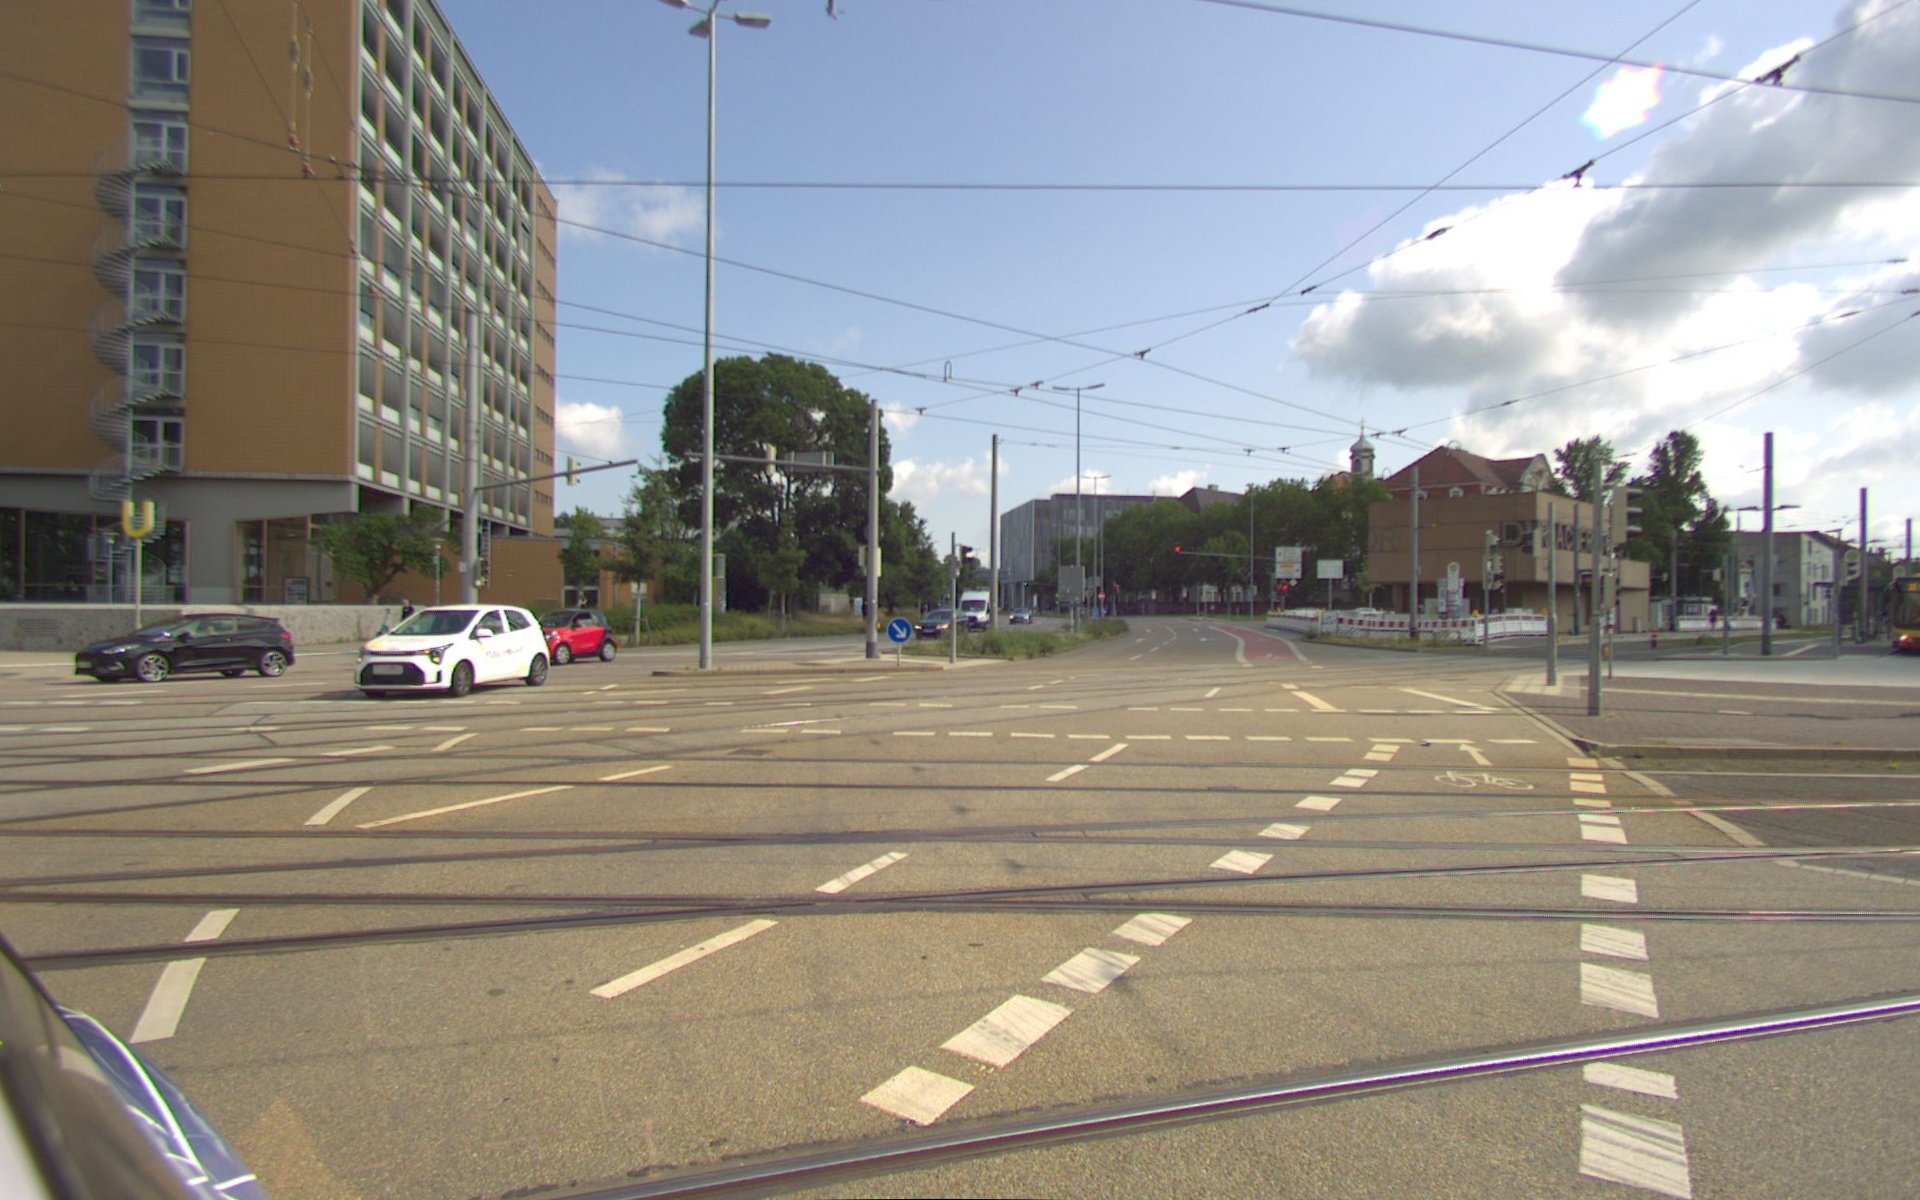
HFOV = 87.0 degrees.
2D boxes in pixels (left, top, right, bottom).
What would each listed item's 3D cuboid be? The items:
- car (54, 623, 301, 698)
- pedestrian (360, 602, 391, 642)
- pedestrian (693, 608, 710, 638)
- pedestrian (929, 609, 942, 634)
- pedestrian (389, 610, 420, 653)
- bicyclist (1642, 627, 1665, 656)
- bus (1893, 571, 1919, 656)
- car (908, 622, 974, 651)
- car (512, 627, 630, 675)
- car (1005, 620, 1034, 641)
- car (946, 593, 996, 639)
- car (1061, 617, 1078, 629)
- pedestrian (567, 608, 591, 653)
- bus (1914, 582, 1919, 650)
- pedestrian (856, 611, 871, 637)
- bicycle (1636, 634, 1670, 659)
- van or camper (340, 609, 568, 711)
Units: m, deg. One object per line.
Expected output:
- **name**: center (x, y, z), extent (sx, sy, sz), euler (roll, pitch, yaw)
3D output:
- **car**: center (-17.010, 1.251, 22.216), extent (1.705, 1.465, 3.964), euler (-1, -1, 27)
- **pedestrian**: center (-24.904, 0.928, 43.121), extent (0.924, 1.600, 0.767), euler (5, 0, -39)
- **pedestrian**: center (-13.387, 1.195, 52.390), extent (0.477, 1.532, 0.576), euler (4, 1, 25)
- **pedestrian**: center (-2.070, 1.803, 85.404), extent (0.974, 2.029, 1.129), euler (0, -1, 4)
- **pedestrian**: center (-21.034, 1.178, 38.322), extent (0.762, 1.600, 0.765), euler (0, -1, 0)
- **bicyclist**: center (29.854, 1.787, 43.561), extent (0.727, 1.161, 0.698), euler (5, -3, -44)
- **bus**: center (35.290, 0.475, 35.835), extent (6.991, 2.855, 2.704), euler (1, -1, -42)
- **car**: center (-0.857, 1.759, 49.439), extent (1.982, 1.291, 4.521), euler (1, -1, 16)
- **car**: center (-11.044, 1.423, 28.898), extent (1.598, 1.223, 2.989), euler (-1, 0, 21)
- **car**: center (5.539, 2.784, 93.664), extent (1.980, 1.785, 4.124), euler (1, -1, 12)
- **car**: center (0.806, 1.057, 67.607), extent (2.458, 2.901, 6.132), euler (0, -1, 9)
- **car**: center (16.518, 3.412, 152.472), extent (1.972, 1.580, 4.783), euler (3, 0, -1)
- **pedestrian**: center (-17.985, 1.453, 47.802), extent (0.794, 2.028, 0.727), euler (3, 1, -35)
- **bus**: center (39.716, 0.648, 39.888), extent (5.000, 2.607, 2.705), euler (1, -1, -43)
- **pedestrian**: center (-7.236, 1.791, 75.969), extent (0.755, 1.885, 0.641), euler (5, 1, 19)
- **bicycle**: center (29.837, 1.997, 43.539), extent (2.039, 1.000, 0.813), euler (5, -3, -44)
- **van or camper**: center (-8.434, 0.965, 17.297), extent (1.608, 1.487, 3.993), euler (-2, -2, 6)
